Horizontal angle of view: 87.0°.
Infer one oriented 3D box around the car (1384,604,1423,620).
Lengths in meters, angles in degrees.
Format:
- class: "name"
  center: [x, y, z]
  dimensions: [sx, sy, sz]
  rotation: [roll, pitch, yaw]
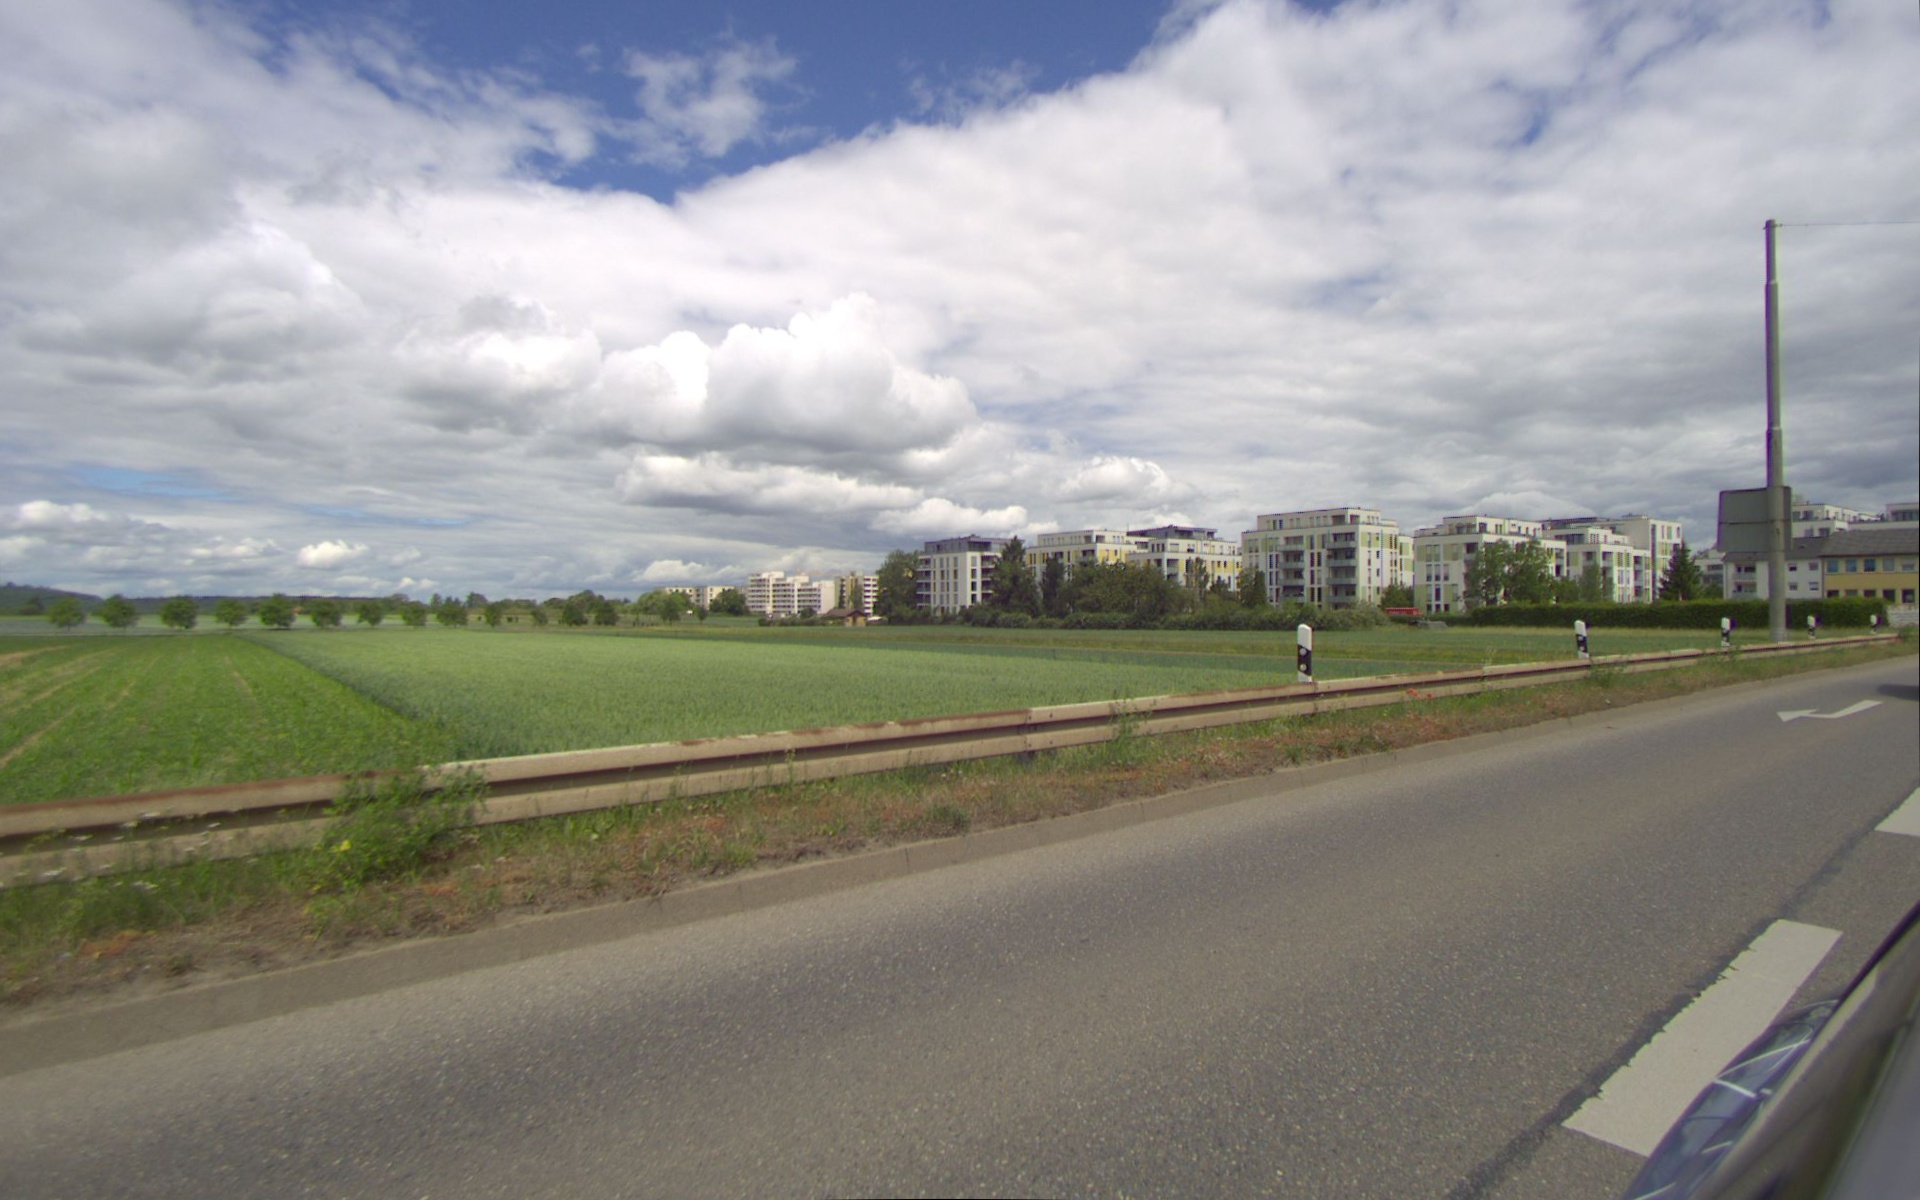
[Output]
- class: "car"
  center: [58.772, 1.570, 134.143]
  dimensions: [1.965, 2.039, 4.434]
  rotation: [0, 0, -40]
